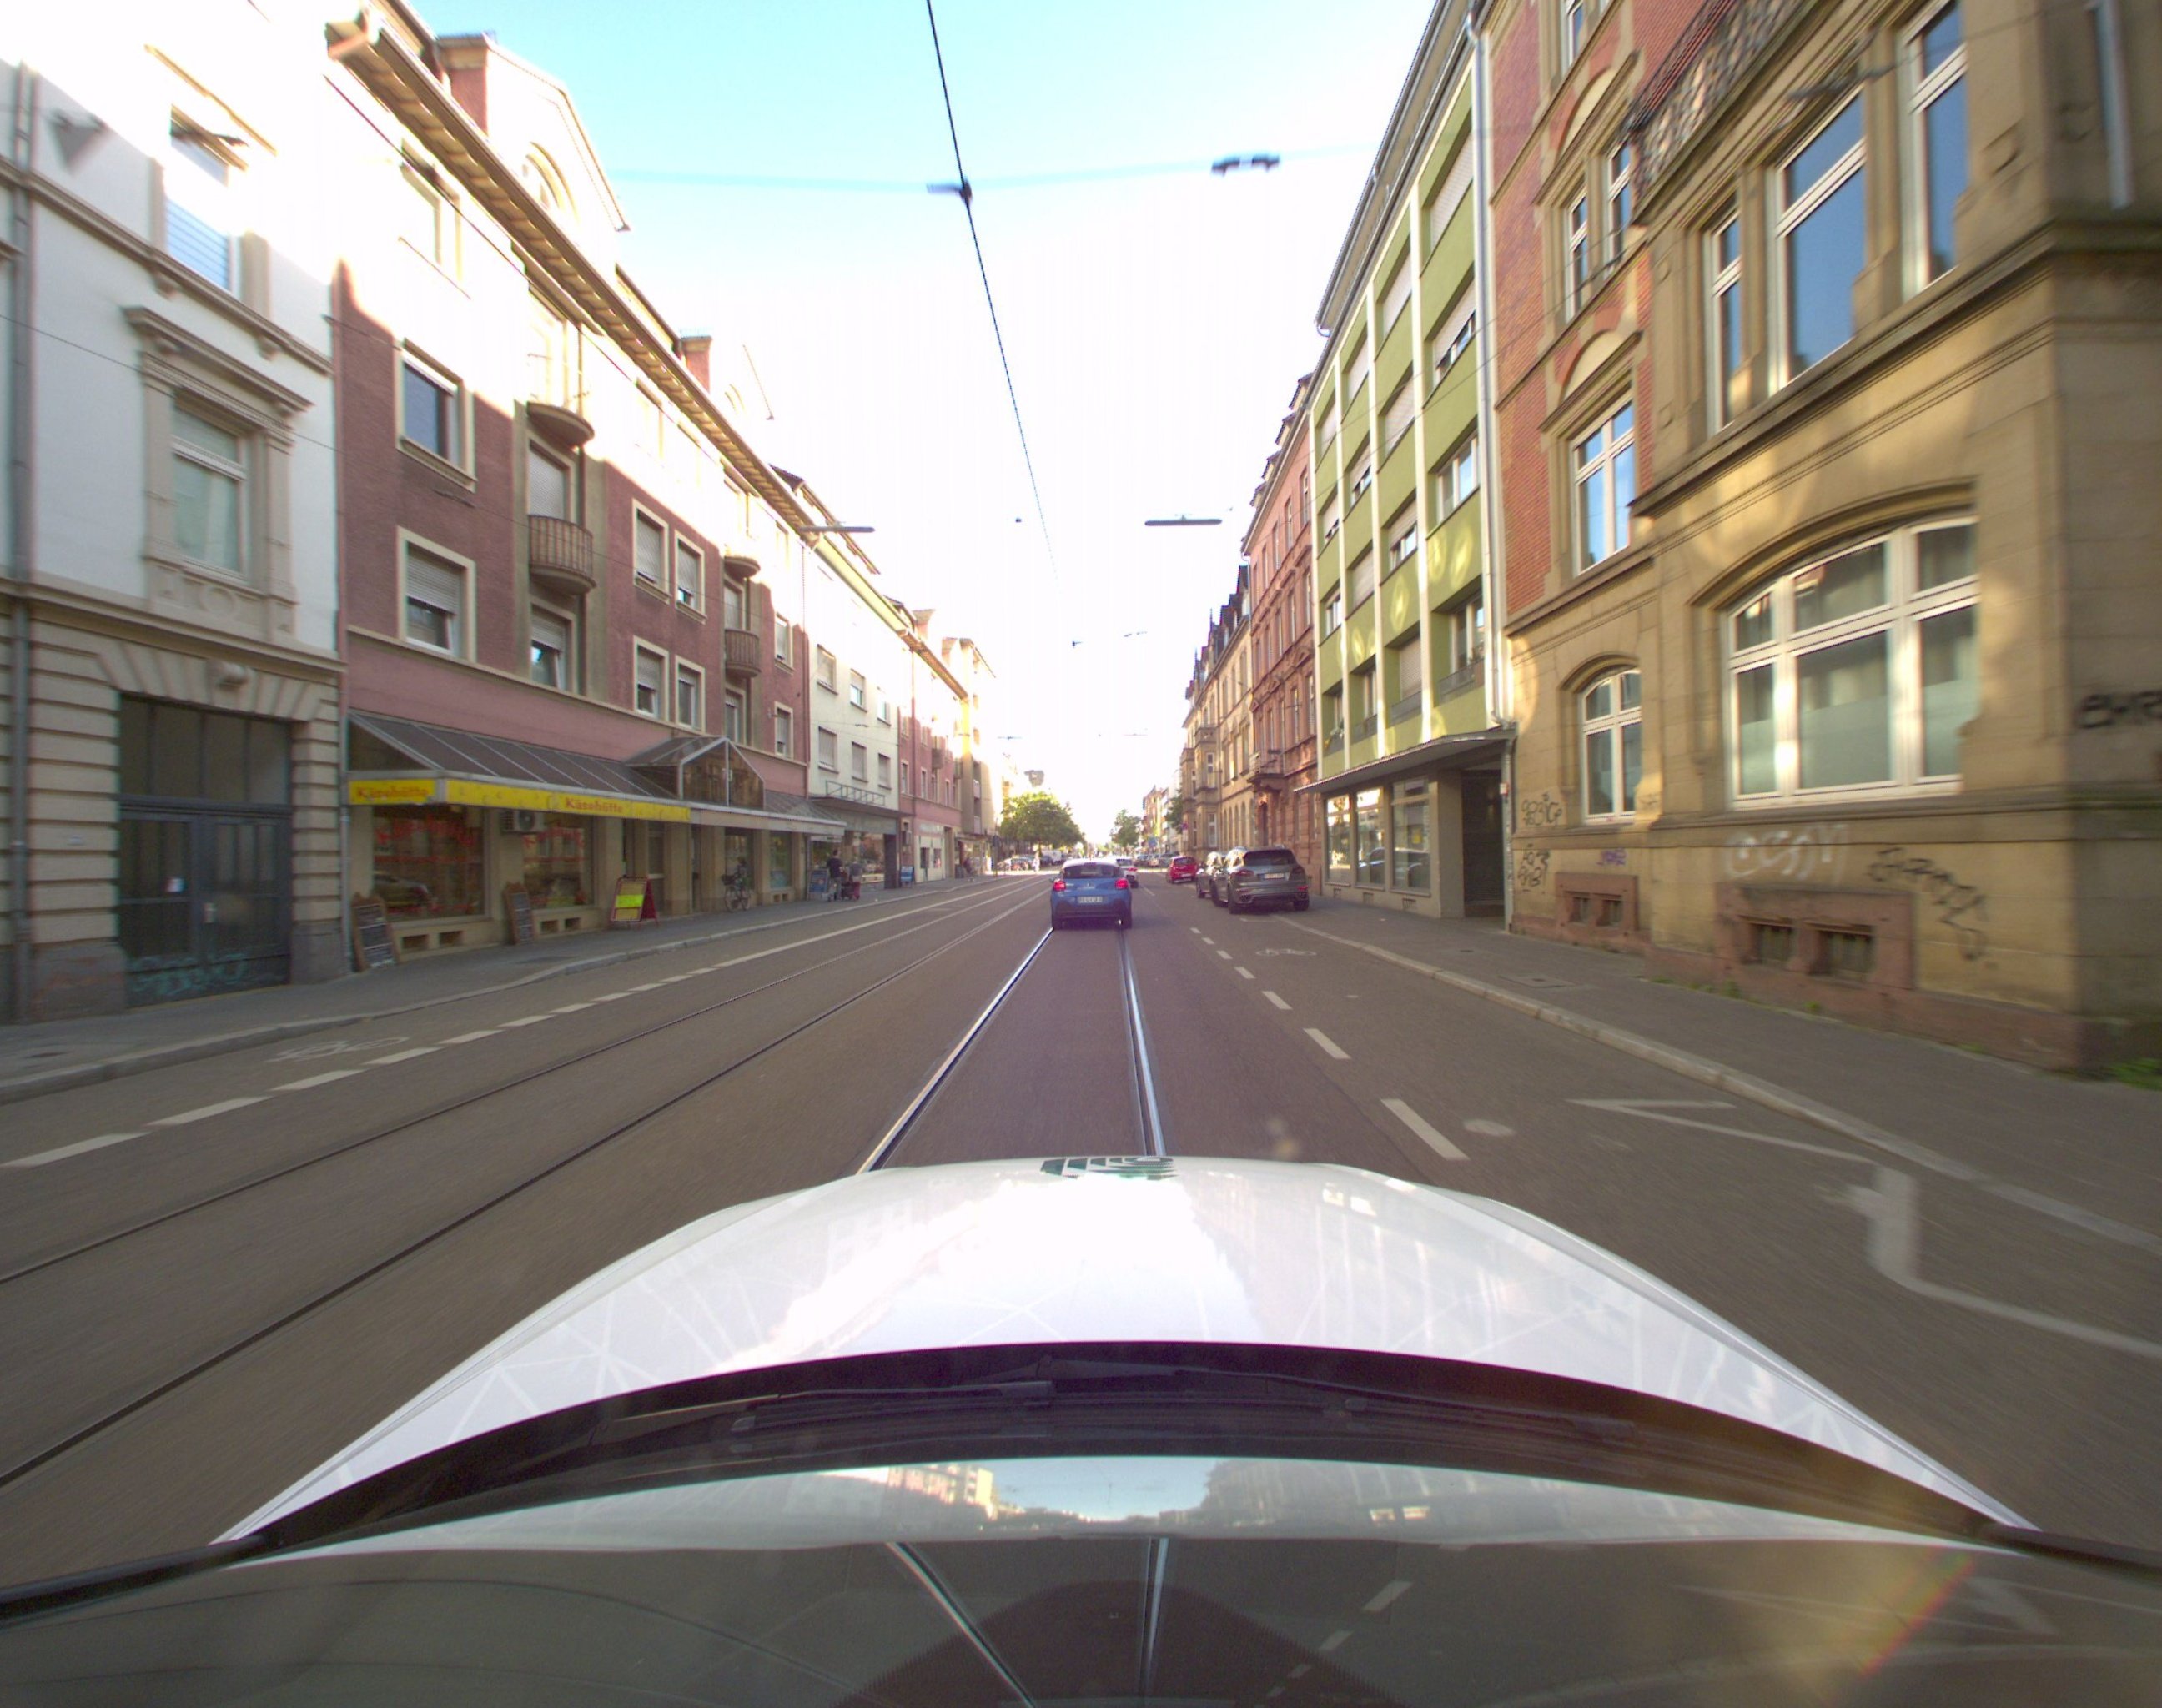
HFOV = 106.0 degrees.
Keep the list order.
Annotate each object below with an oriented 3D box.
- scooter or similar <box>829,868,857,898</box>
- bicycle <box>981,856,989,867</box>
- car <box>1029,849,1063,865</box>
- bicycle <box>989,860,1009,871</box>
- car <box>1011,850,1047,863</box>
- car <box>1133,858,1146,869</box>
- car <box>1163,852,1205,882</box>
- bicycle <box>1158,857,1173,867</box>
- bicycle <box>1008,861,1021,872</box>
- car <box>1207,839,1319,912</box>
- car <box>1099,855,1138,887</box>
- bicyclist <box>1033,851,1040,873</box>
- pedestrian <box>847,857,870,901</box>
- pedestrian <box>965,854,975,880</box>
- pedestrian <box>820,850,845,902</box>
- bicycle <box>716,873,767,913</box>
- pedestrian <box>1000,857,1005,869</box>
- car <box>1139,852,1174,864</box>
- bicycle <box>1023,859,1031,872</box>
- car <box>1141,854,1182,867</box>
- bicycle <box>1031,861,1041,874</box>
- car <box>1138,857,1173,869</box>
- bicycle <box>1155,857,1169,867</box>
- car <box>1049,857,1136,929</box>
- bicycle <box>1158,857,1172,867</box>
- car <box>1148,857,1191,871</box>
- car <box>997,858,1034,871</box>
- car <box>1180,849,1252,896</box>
[{"bbox_3d":[-8.704,1.047,29.773,0.659,1.061,1.105,0,0,2],"label":"scooter or similar"},{"bbox_3d":[-10.299,0.816,87.275,0.404,1.109,1.825,-1,-1,-19],"label":"bicycle"},{"bbox_3d":[-5.747,0.481,135.126,5.401,2.749,1.790,0,-1,-28],"label":"car"},{"bbox_3d":[-8.793,1.223,86.859,2.405,1.109,0.688,1,2,42],"label":"bicycle"},{"bbox_3d":[-6.987,0.328,109.063,4.381,1.783,1.976,0,-1,-31],"label":"car"},{"bbox_3d":[8.752,1.433,122.242,1.866,1.596,4.722,0,-1,2],"label":"car"},{"bbox_3d":[5.814,0.704,46.239,1.859,1.483,4.402,-4,-1,2],"label":"car"},{"bbox_3d":[9.124,0.868,88.181,1.551,1.127,0.295,-1,-1,8],"label":"bicycle"},{"bbox_3d":[-7.104,1.318,87.331,0.685,1.123,1.870,-1,2,-29],"label":"bicycle"},{"bbox_3d":[4.747,0.542,21.975,1.986,1.615,4.787,-4,-1,2],"label":"car"},{"bbox_3d":[1.777,0.786,39.232,1.756,1.441,3.558,0,-1,2],"label":"car"},{"bbox_3d":[-4.058,0.759,74.219,0.609,2.014,0.734,0,-1,2],"label":"bicyclist"},{"bbox_3d":[-8.012,0.890,29.351,0.633,1.548,0.624,0,-1,1],"label":"pedestrian"},{"bbox_3d":[-7.142,0.832,52.471,0.561,1.686,0.616,0,-1,0],"label":"pedestrian"},{"bbox_3d":[-8.767,0.771,28.779,0.623,1.789,0.821,0,-1,1],"label":"pedestrian"},{"bbox_3d":[-9.767,1.094,23.502,0.423,1.060,2.330,0,-1,2],"label":"bicycle"},{"bbox_3d":[-10.809,1.245,111.971,0.567,1.652,0.641,0,-1,2],"label":"pedestrian"},{"bbox_3d":[9.961,0.488,107.436,4.004,1.596,2.072,0,-1,-23],"label":"car"},{"bbox_3d":[-5.736,1.223,86.674,0.680,1.319,2.434,-1,2,-2],"label":"bicycle"},{"bbox_3d":[9.618,0.764,97.243,4.453,1.596,2.073,0,-1,-23],"label":"car"},{"bbox_3d":[-4.070,1.242,74.028,0.599,1.096,2.045,-3,-1,2],"label":"bicycle"},{"bbox_3d":[10.011,1.225,109.862,4.321,1.596,1.967,0,-1,-23],"label":"car"},{"bbox_3d":[8.509,0.839,85.854,1.392,1.127,0.552,0,-1,2],"label":"bicycle"},{"bbox_3d":[0.293,0.800,18.257,1.756,1.441,3.558,0,-1,2],"label":"car"},{"bbox_3d":[9.074,0.888,87.860,1.547,1.079,0.308,-1,-1,8],"label":"bicycle"},{"bbox_3d":[9.938,1.120,91.472,4.370,1.596,1.839,0,-1,-23],"label":"car"},{"bbox_3d":[-7.472,1.195,93.124,3.804,1.400,1.737,0,-1,-31],"label":"car"},{"bbox_3d":[5.023,0.676,30.816,1.861,1.646,4.397,0,-1,-2],"label":"car"}]
